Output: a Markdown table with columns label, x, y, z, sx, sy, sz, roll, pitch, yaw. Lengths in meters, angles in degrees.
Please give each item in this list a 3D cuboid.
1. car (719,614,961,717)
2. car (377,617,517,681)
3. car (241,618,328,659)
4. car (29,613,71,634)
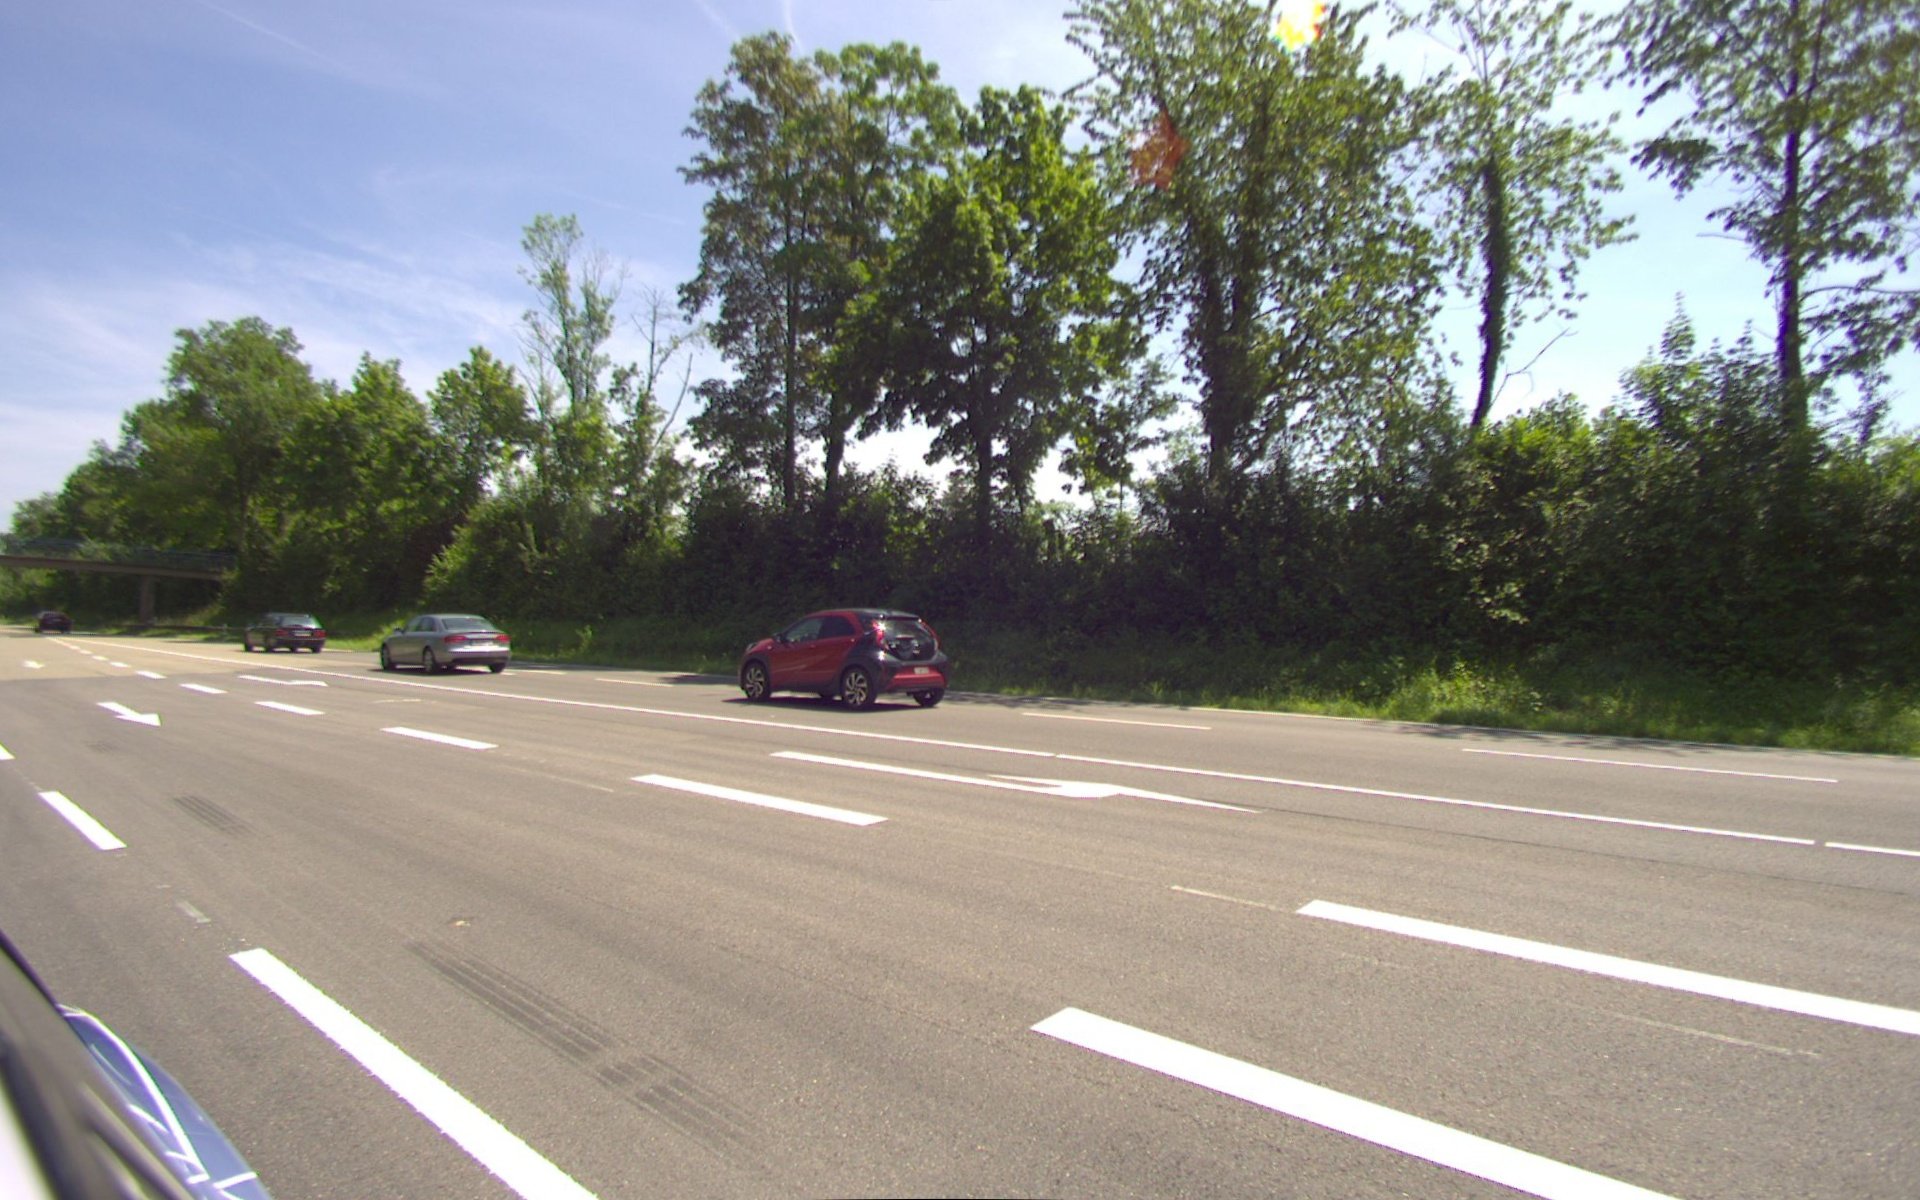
| label | x | y | z | sx | sy | sz | roll | pitch | yaw |
| --- | --- | --- | --- | --- | --- | --- | --- | --- | --- |
| car | -2.010 | 0.969 | 16.272 | 4.015 | 1.449 | 1.624 | -1 | -2 | 42 |
| car | -12.762 | 1.145 | 25.094 | 3.998 | 1.397 | 1.748 | 0 | 0 | 41 |
| car | -25.306 | 1.391 | 37.855 | 3.998 | 1.397 | 1.748 | 0 | 0 | 41 |
| car | -67.762 | 1.717 | 75.308 | 3.763 | 1.520 | 1.883 | -1 | -2 | 41 |
